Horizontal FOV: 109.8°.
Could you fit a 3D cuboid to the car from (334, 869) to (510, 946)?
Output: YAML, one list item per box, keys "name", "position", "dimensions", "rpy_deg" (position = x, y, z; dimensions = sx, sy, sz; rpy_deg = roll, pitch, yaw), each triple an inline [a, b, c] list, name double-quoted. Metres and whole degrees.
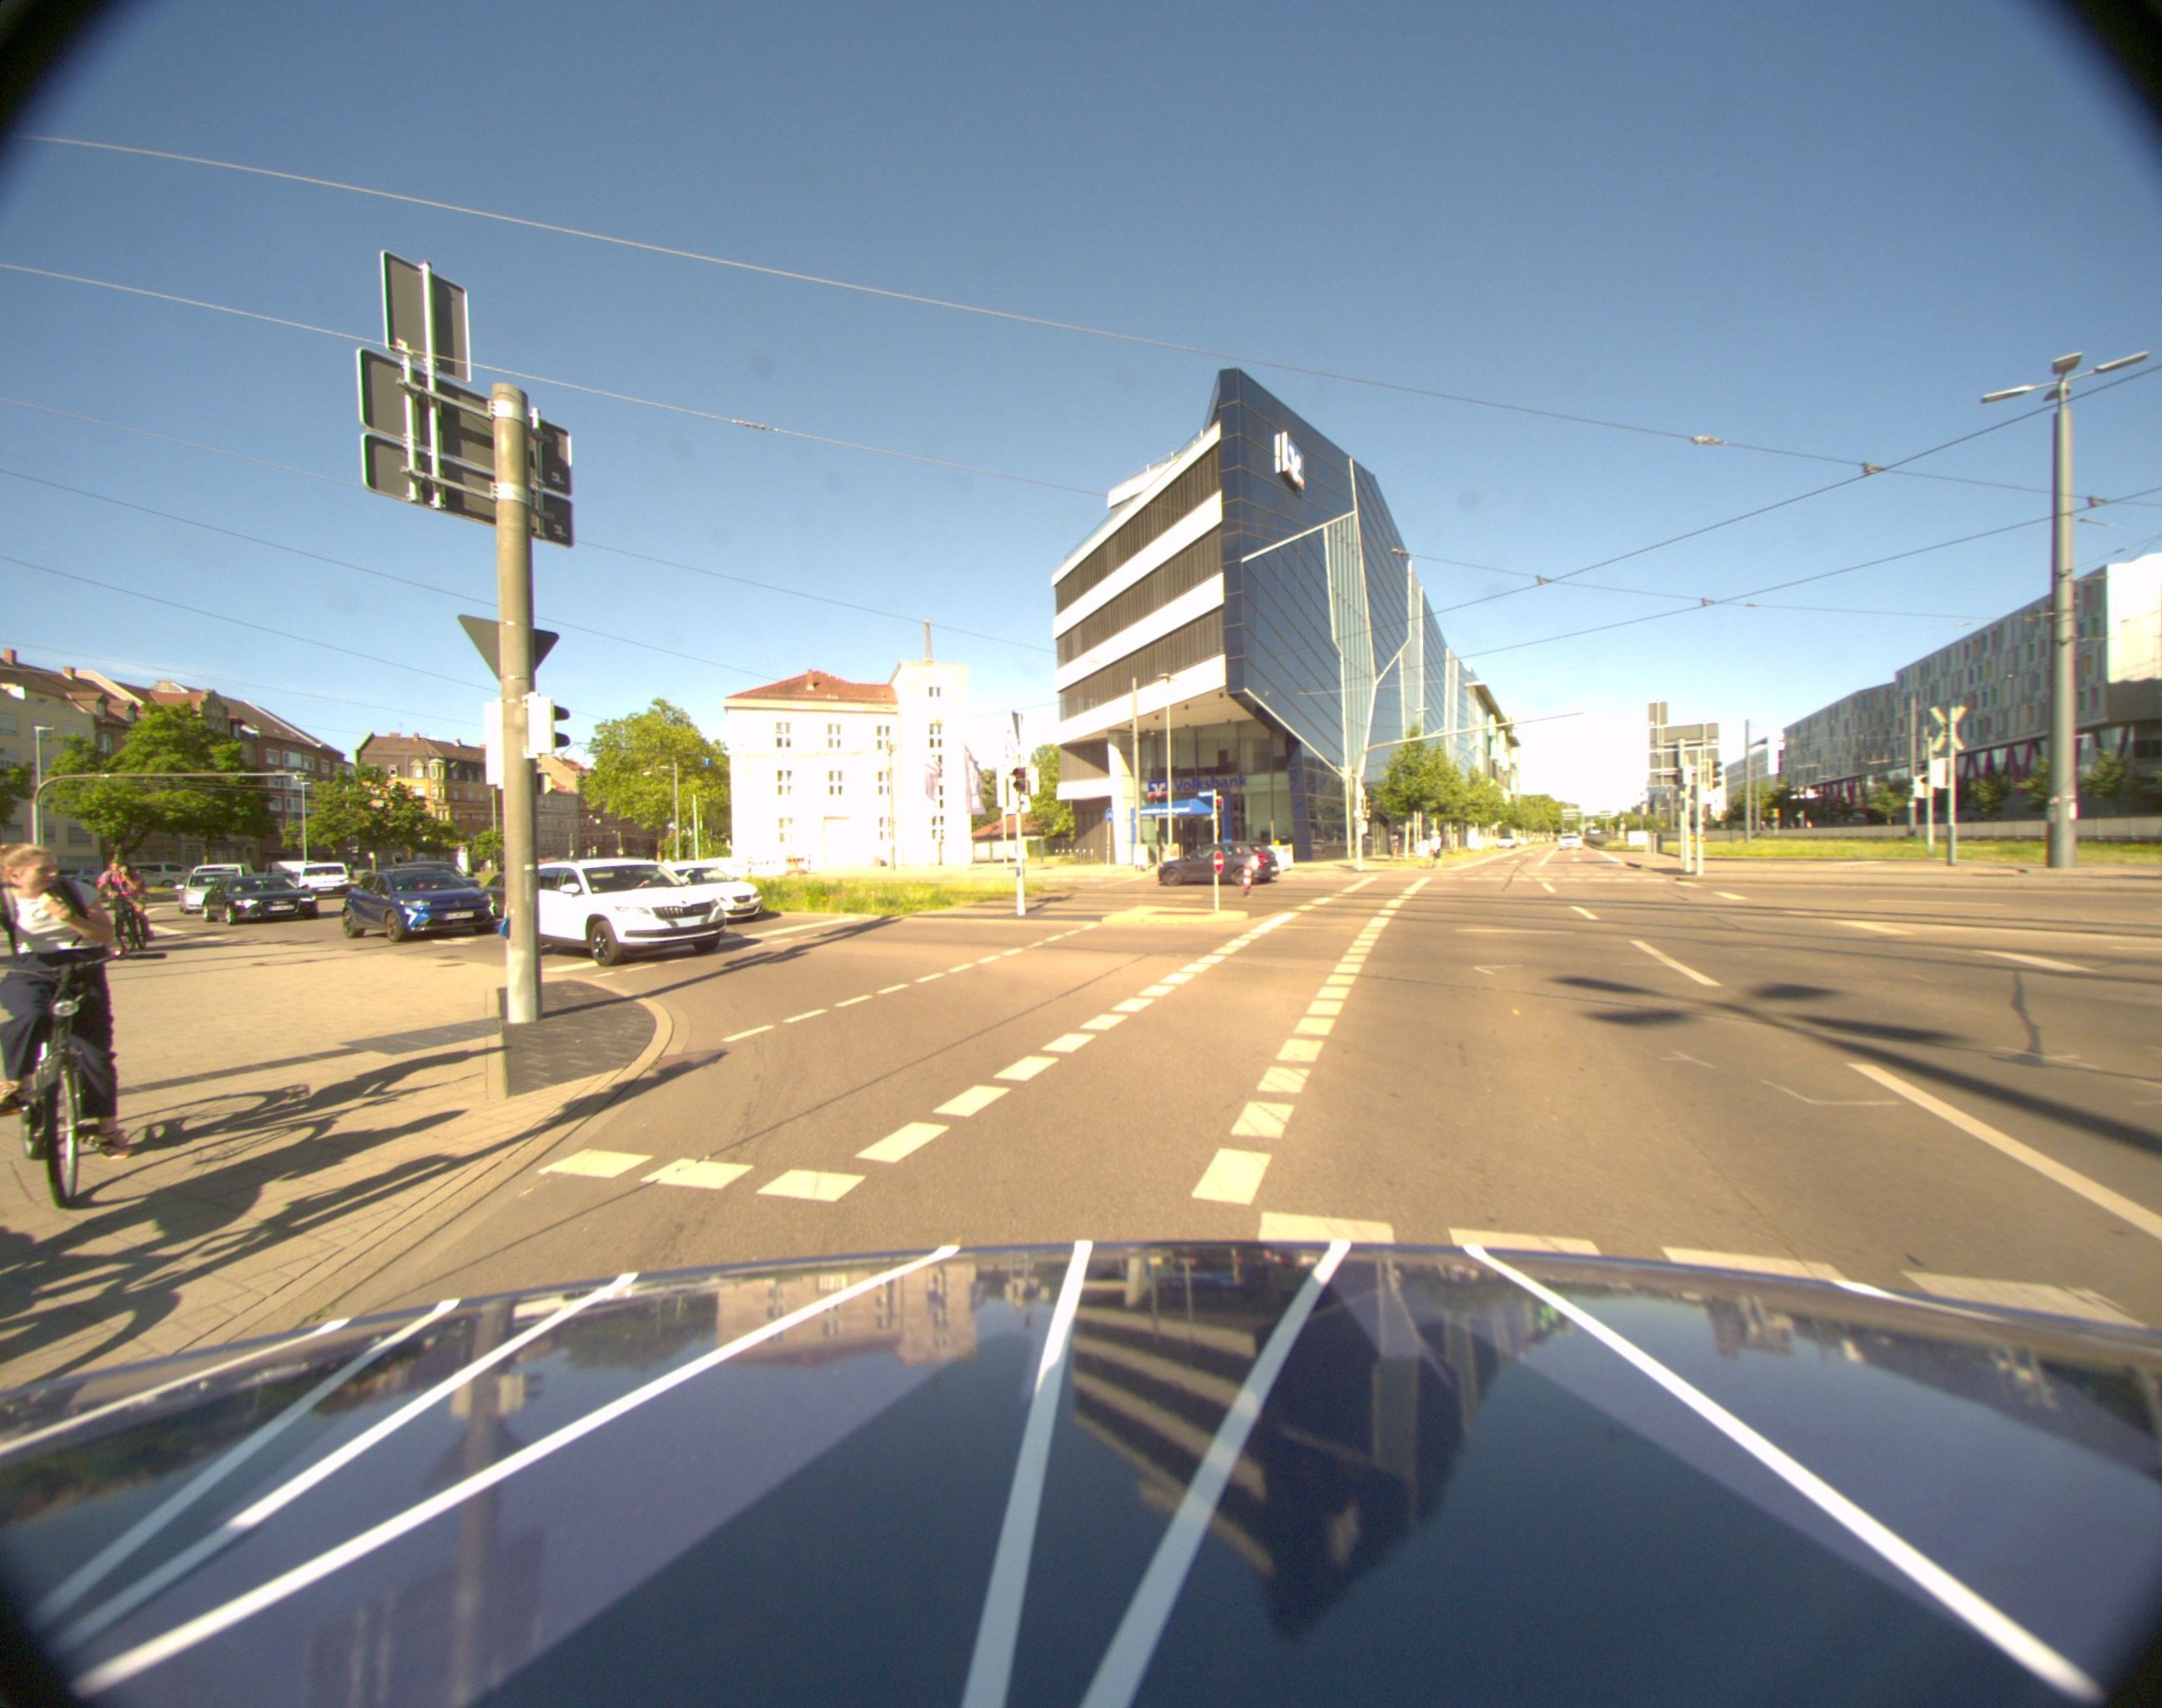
- name: "car"
  position: [-15.365, 1.165, 17.689]
  dimensions: [3.989, 1.547, 1.878]
  rpy_deg: [-1, 1, 31]

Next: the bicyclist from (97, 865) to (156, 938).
- name: "bicyclist"
  position: [-18.715, 0.905, 14.912]
  dimensions: [0.736, 1.369, 0.698]
  rpy_deg: [1, 1, 40]

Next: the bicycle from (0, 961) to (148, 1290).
- name: "bicycle"
  position: [-5.133, 1.204, 3.706]
  dimensions: [2.005, 1.098, 0.698]
  rpy_deg: [1, 1, 40]

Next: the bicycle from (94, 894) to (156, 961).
- name: "bicycle"
  position: [-18.603, 1.397, 14.812]
  dimensions: [2.005, 1.098, 0.698]
  rpy_deg: [1, 1, 40]

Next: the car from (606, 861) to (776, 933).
- name: "car"
  position: [-9.262, 0.957, 18.000]
  dimensions: [3.825, 1.423, 1.672]
  rpy_deg: [-1, 4, 31]

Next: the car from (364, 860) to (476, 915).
- name: "car"
  position: [-22.876, 1.094, 26.249]
  dimensions: [4.315, 1.675, 1.772]
  rpy_deg: [-1, 3, 34]

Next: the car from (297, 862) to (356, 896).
- name: "car"
  position: [-38.033, 1.219, 38.279]
  dimensions: [3.988, 1.547, 1.878]
  rpy_deg: [-1, 2, 42]

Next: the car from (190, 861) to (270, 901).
- name: "car"
  position: [-45.751, 1.397, 40.974]
  dimensions: [1.878, 1.970, 4.642]
  rpy_deg: [-3, 1, -36]

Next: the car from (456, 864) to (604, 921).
- name: "car"
  position: [-16.124, 1.074, 22.185]
  dimensions: [4.471, 1.423, 1.844]
  rpy_deg: [-1, 3, 32]

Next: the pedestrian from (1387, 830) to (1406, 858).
- name: "pedestrian"
  position: [18.242, -0.579, 43.967]
  dimensions: [0.855, 1.547, 0.614]
  rpy_deg: [-1, 2, 37]

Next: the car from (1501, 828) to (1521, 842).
- name: "car"
  position: [54.623, -2.458, 96.440]
  dimensions: [1.994, 1.718, 4.007]
  rpy_deg: [-1, 1, 33]

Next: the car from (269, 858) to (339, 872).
- name: "car"
  position: [-75.990, 1.063, 74.338]
  dimensions: [1.994, 1.203, 4.409]
  rpy_deg: [-1, 1, 33]

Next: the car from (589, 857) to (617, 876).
- name: "car"
  position: [-48.280, 1.232, 76.786]
  dimensions: [1.772, 1.740, 3.992]
  rpy_deg: [-2, 1, -24]

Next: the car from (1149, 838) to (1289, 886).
- name: "car"
  position: [4.715, 0.262, 26.289]
  dimensions: [4.297, 1.491, 2.004]
  rpy_deg: [-1, 1, 38]

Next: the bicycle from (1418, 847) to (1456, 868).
- name: "bicycle"
  position: [15.737, 0.144, 33.563]
  dimensions: [0.768, 0.835, 2.573]
  rpy_deg: [0, 2, 43]

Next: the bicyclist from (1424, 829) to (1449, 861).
- name: "bicyclist"
  position: [15.693, -0.404, 33.527]
  dimensions: [0.760, 1.402, 0.773]
  rpy_deg: [0, 2, 43]

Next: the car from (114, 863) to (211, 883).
- name: "car"
  position: [-67.472, 1.371, 55.953]
  dimensions: [1.994, 1.227, 4.409]
  rpy_deg: [-1, 1, 43]

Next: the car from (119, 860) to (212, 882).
- name: "car"
  position: [-69.543, 1.280, 57.837]
  dimensions: [1.994, 1.453, 4.409]
  rpy_deg: [0, 1, 43]

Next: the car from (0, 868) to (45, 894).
- name: "car"
  position: [-65.704, 1.688, 45.345]
  dimensions: [1.994, 1.453, 4.409]
  rpy_deg: [-1, 1, 32]

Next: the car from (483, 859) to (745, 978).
- name: "car"
  position: [-7.937, 0.967, 12.840]
  dimensions: [4.326, 1.621, 1.878]
  rpy_deg: [-1, 2, 31]

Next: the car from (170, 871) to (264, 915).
- name: "car"
  position: [-34.292, 1.505, 30.144]
  dimensions: [3.989, 1.547, 1.878]
  rpy_deg: [-1, 1, 34]

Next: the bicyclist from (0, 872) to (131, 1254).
- name: "bicyclist"
  position: [-5.107, 0.930, 3.672]
  dimensions: [1.000, 1.645, 0.597]
  rpy_deg: [1, 2, 40]

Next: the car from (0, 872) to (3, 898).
- name: "car"
  position: [-64.587, 1.891, 42.730]
  dimensions: [1.994, 1.498, 4.409]
  rpy_deg: [-1, 1, 32]

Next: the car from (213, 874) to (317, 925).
- name: "car"
  position: [-25.832, 1.386, 24.039]
  dimensions: [3.827, 1.425, 1.589]
  rpy_deg: [-1, 1, 34]

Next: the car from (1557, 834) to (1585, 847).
- name: "car"
  position: [44.148, -1.243, 68.470]
  dimensions: [1.994, 1.084, 4.007]
  rpy_deg: [-1, 1, 33]
